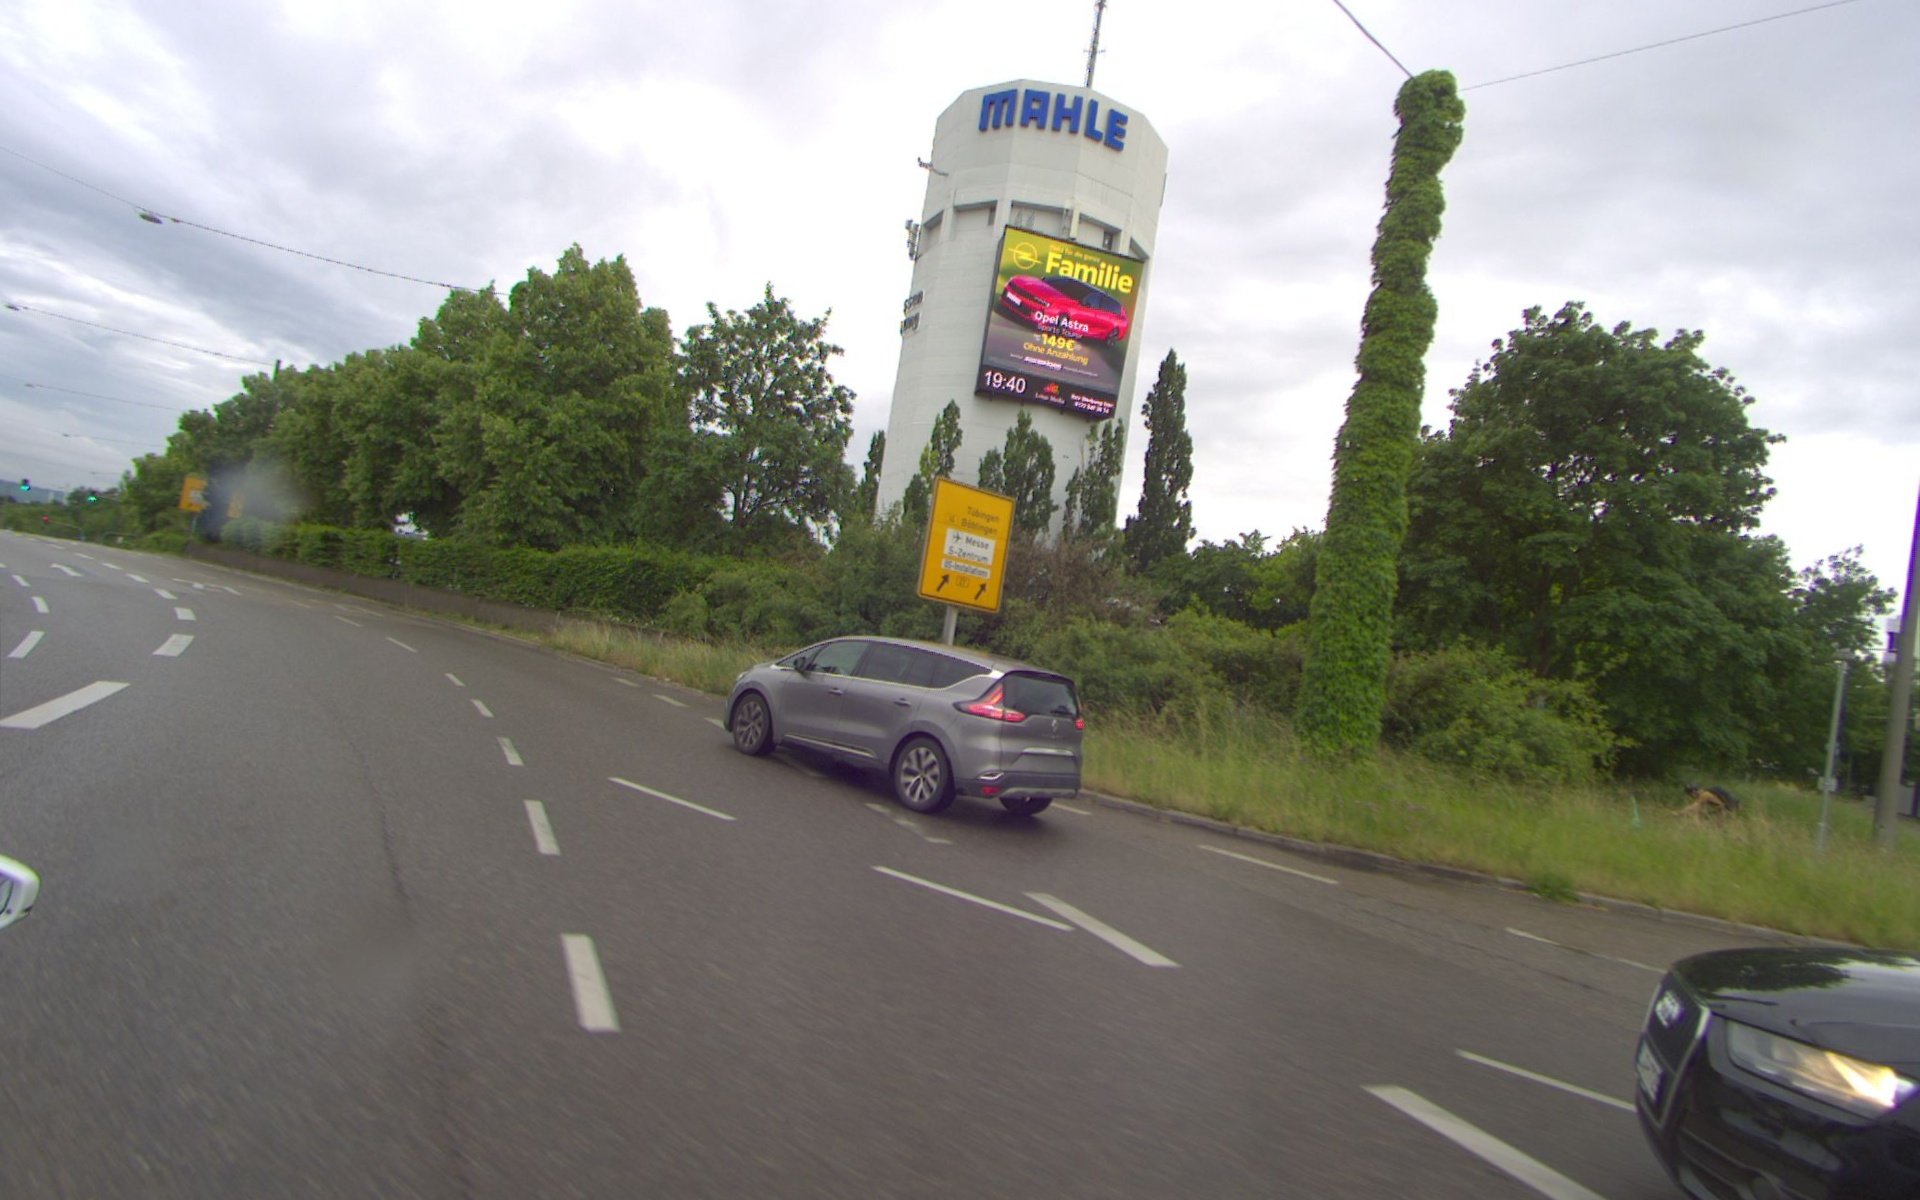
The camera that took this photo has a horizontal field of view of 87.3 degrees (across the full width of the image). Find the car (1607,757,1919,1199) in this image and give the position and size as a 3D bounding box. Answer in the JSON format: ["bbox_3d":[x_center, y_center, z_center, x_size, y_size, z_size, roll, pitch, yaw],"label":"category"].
[{"bbox_3d":[4.221,1.574,2.537,4.055,1.551,1.731,8,-2,28],"label":"car"}]

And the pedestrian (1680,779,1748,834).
[{"bbox_3d":[14.465,3.958,19.324,0.839,0.835,0.592,8,-2,24],"label":"pedestrian"}]

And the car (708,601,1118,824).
[{"bbox_3d":[-0.710,1.164,11.362,4.563,1.665,1.726,6,-5,43],"label":"car"}]
